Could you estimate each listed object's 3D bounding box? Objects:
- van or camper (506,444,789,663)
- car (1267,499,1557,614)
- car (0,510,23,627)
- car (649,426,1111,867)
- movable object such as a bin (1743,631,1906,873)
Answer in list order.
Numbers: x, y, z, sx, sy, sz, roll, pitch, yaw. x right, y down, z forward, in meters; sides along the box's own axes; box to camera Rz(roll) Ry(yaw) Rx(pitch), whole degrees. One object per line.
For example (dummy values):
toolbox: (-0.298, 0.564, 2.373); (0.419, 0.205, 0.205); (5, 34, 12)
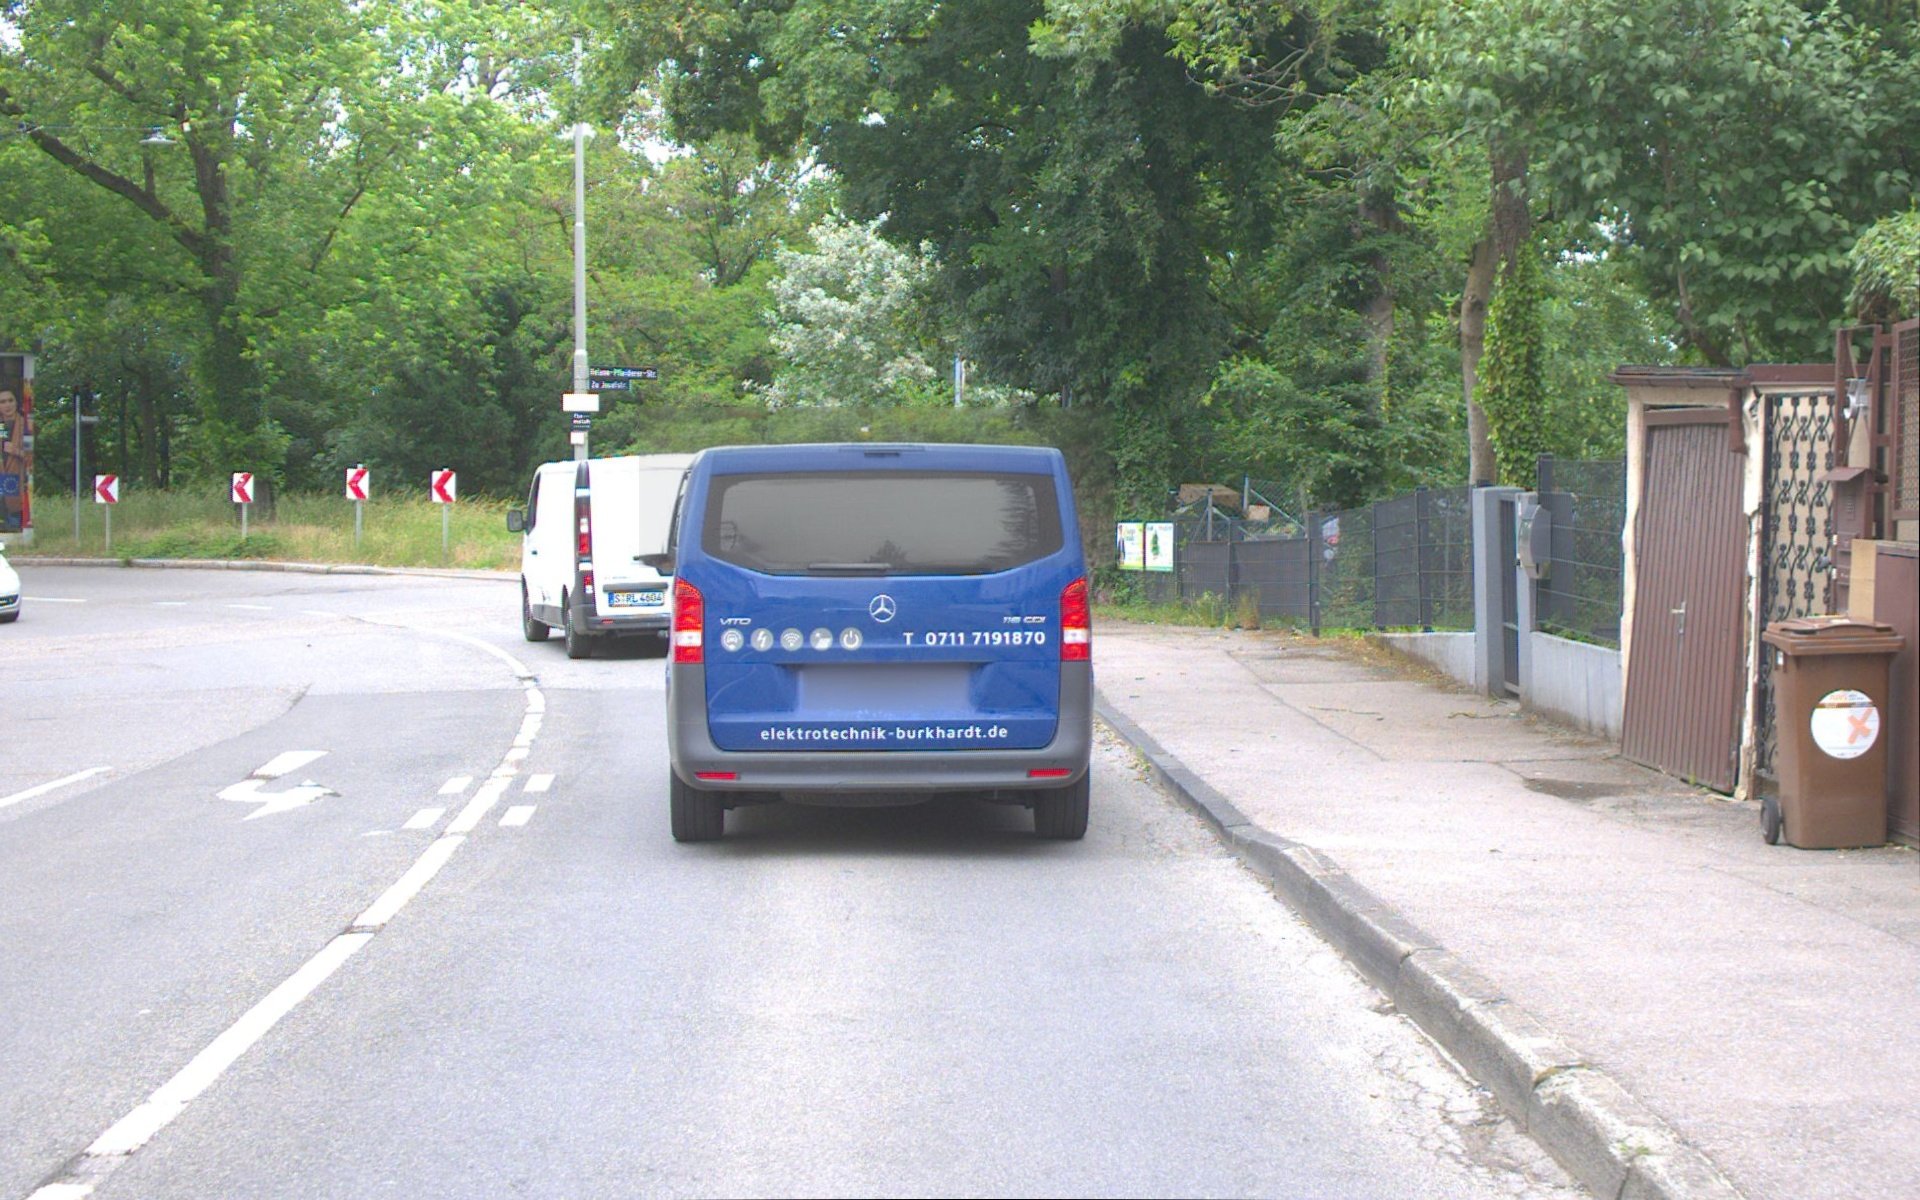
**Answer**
van or camper: (-3.249, -0.500, 34.801); (2.019, 1.950, 4.898); (-4, 2, -14)
car: (6.542, -0.630, 49.850); (3.658, 1.393, 1.832); (4, 0, -18)
car: (-14.473, -0.458, 48.985); (1.722, 1.599, 3.978); (-2, 2, -21)
car: (-0.482, 0.136, 16.541); (1.913, 1.831, 4.295); (1, 2, -4)
movable object such as a bin: (3.520, 0.610, 14.022); (0.461, 0.921, 0.566); (-3, 2, -3)
